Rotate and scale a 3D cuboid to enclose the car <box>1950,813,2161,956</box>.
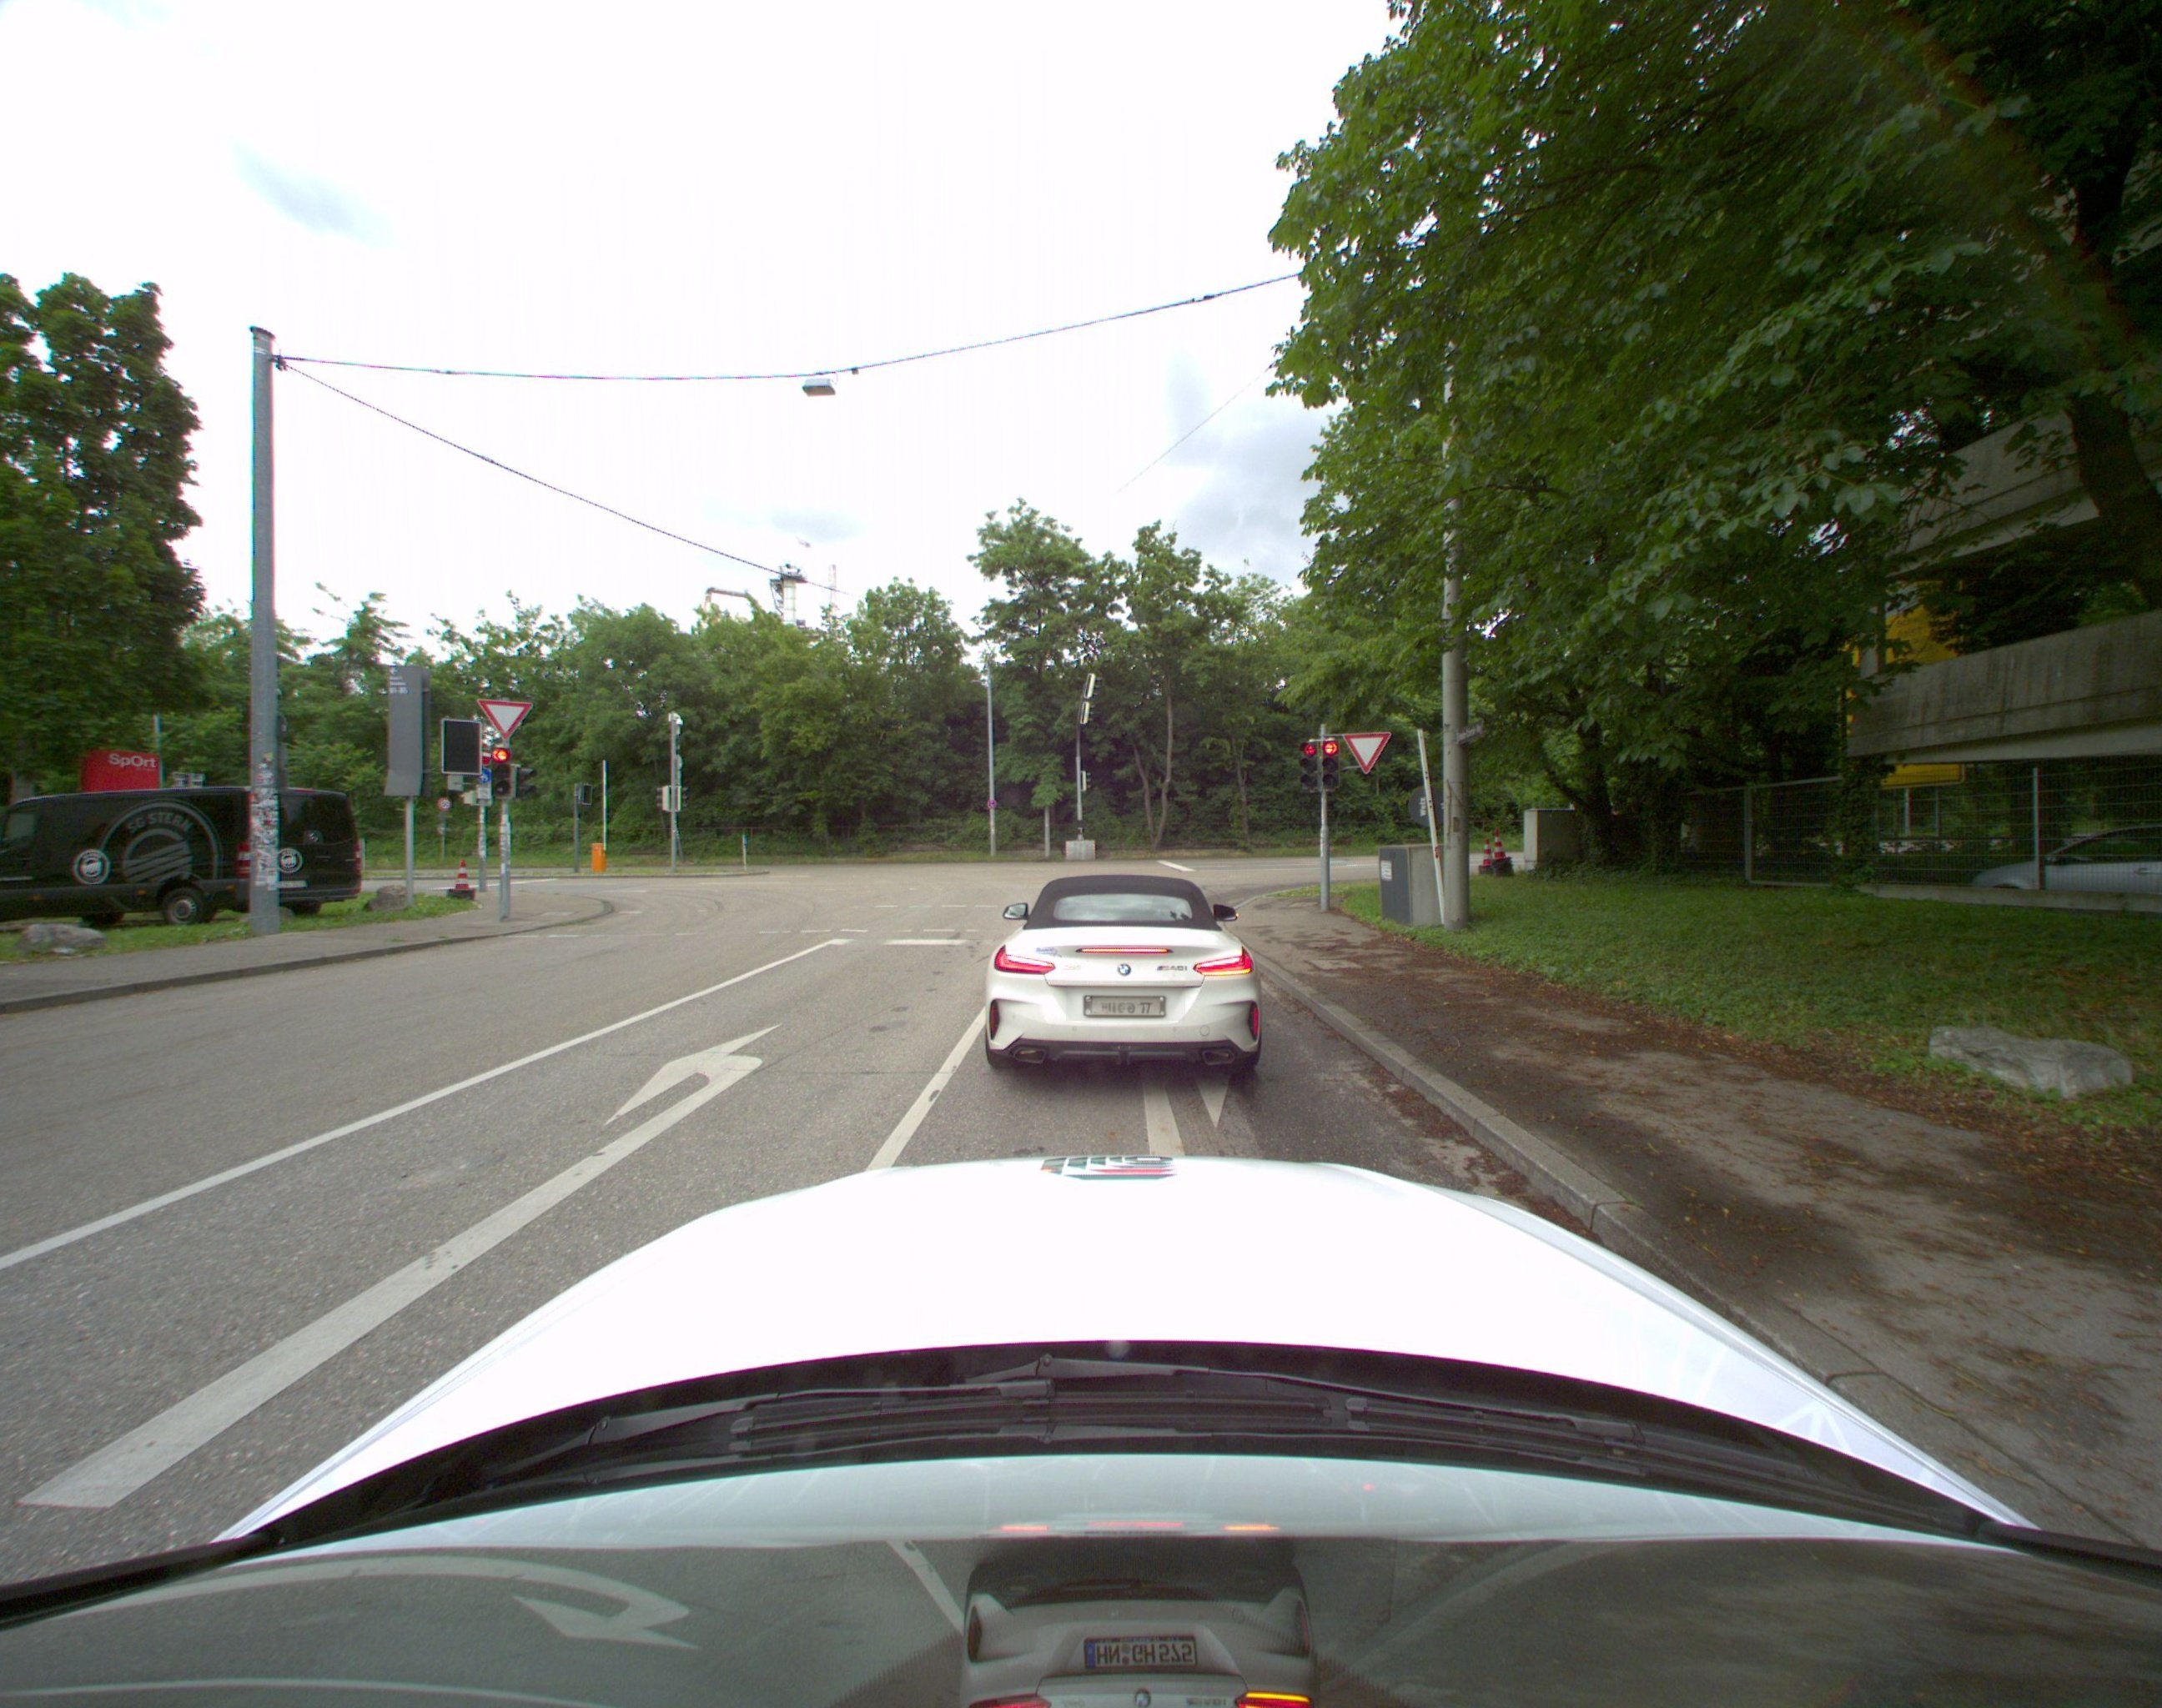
[{"bbox_3d":[13.615,0.379,10.244,1.475,1.708,3.720,0,-1,2],"label":"car"}]

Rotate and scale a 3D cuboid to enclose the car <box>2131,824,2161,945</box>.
[{"bbox_3d":[16.008,0.405,9.937,1.574,1.708,3.770,0,-1,2],"label":"car"}]

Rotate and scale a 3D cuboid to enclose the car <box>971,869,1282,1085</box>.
[{"bbox_3d":[0.270,0.763,6.779,1.822,1.257,3.999,0,-1,0],"label":"car"}]

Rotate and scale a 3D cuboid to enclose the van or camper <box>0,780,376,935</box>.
[{"bbox_3d":[-15.889,0.115,14.158,5.513,2.314,2.063,-2,-2,2],"label":"van or camper"}]
